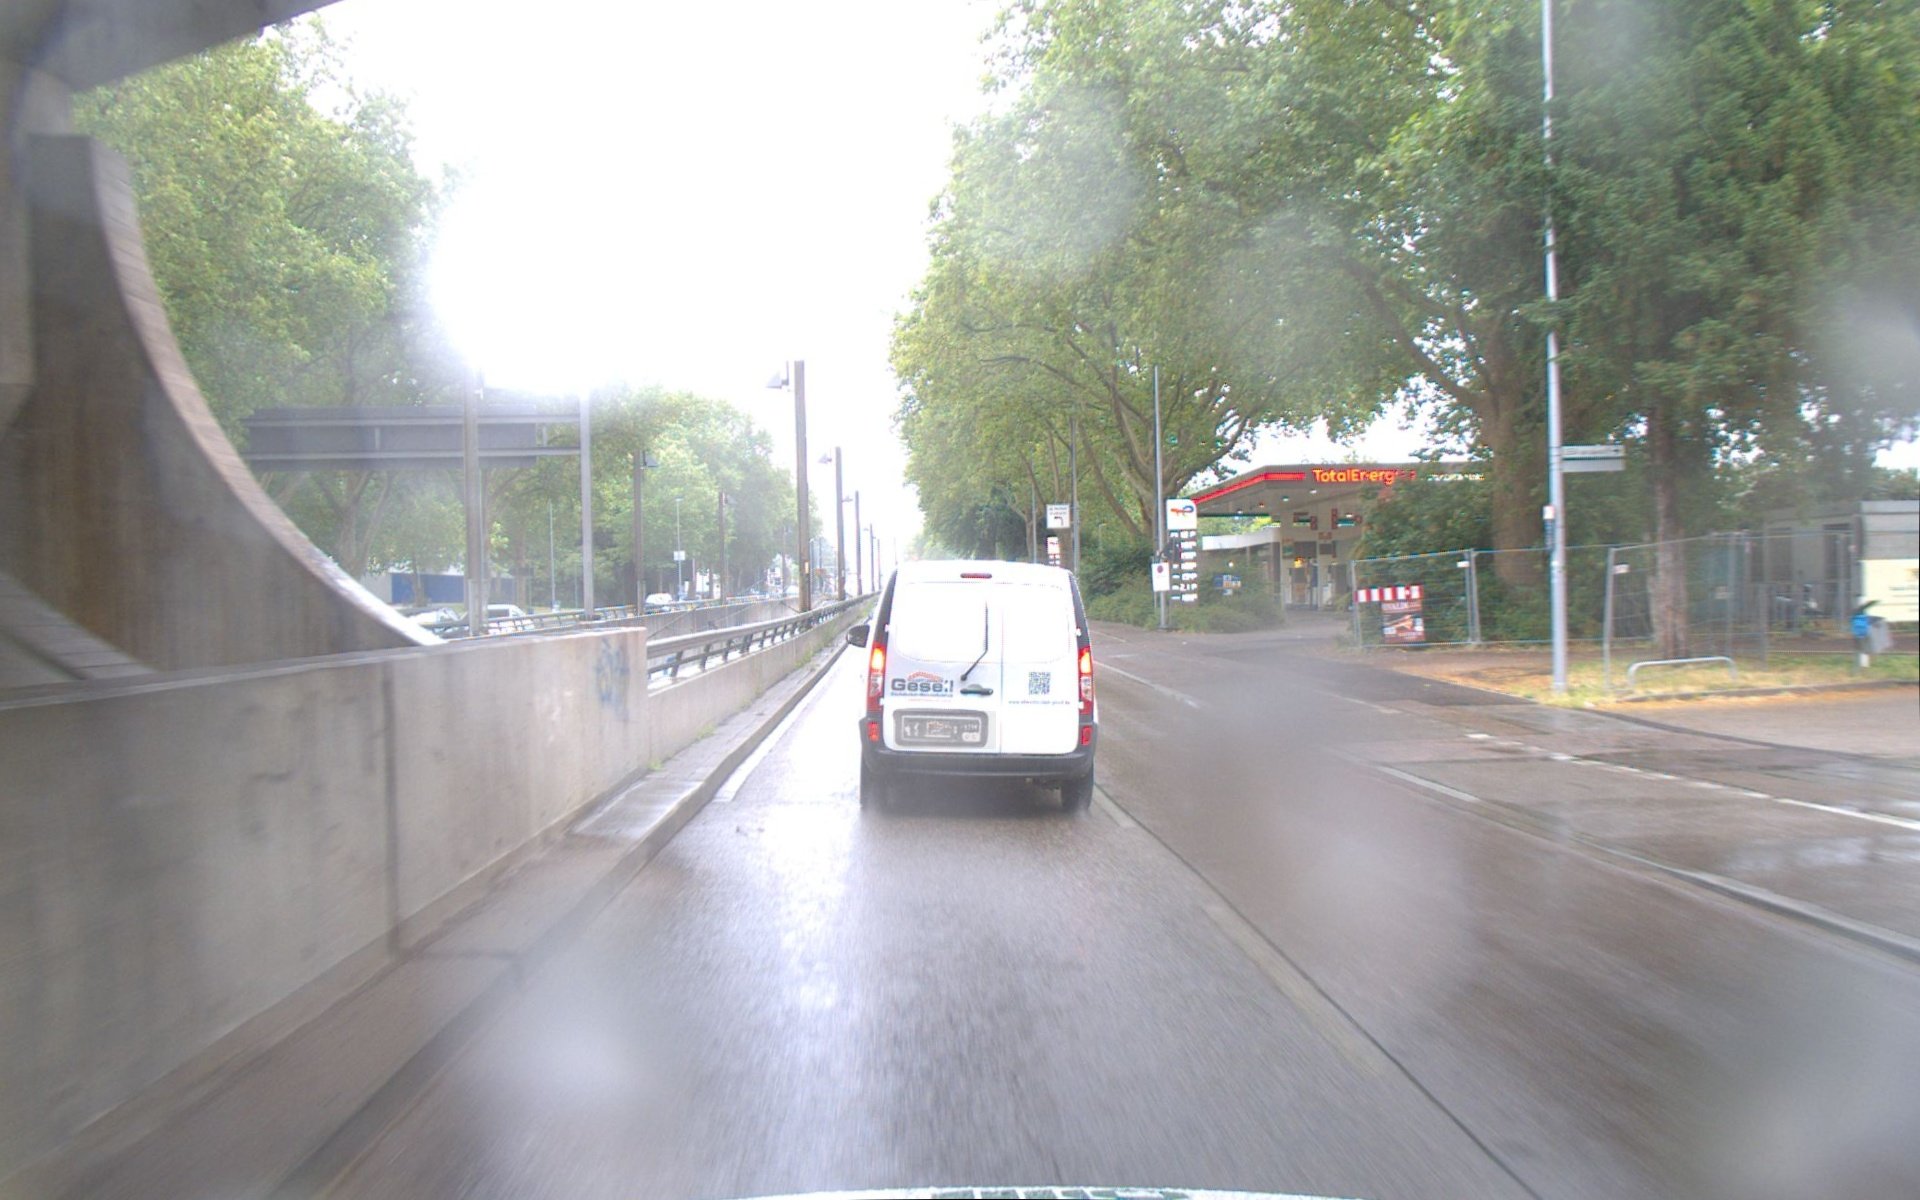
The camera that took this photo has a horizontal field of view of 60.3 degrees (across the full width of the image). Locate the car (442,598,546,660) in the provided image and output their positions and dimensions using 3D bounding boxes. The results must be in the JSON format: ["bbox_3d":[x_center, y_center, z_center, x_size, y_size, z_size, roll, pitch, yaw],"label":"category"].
[{"bbox_3d":[-13.689,0.816,48.884,1.954,1.661,4.577,-2,0,-3],"label":"car"}]

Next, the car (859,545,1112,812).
[{"bbox_3d":[0.055,0.537,13.268,1.721,1.808,3.997,0,0,-4],"label":"car"}]

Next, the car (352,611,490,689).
[{"bbox_3d":[-12.796,1.149,39.552,1.953,1.661,4.088,-2,0,-1],"label":"car"}]

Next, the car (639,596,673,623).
[{"bbox_3d":[-18.940,0.584,103.265,1.872,1.598,3.993,-2,1,-8],"label":"car"}]

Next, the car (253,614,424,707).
[{"bbox_3d":[-12.636,1.179,33.893,1.953,1.661,4.088,-2,0,-1],"label":"car"}]

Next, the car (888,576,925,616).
[{"bbox_3d":[-3.063,-0.239,95.689,2.007,2.177,3.999,-2,0,-1],"label":"car"}]

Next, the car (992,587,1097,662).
[{"bbox_3d":[1.968,0.561,39.710,1.955,1.612,3.996,-3,0,-4],"label":"car"}]

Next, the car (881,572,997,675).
[{"bbox_3d":[-0.419,0.393,29.763,1.879,1.637,3.998,-2,0,-2],"label":"car"}]
